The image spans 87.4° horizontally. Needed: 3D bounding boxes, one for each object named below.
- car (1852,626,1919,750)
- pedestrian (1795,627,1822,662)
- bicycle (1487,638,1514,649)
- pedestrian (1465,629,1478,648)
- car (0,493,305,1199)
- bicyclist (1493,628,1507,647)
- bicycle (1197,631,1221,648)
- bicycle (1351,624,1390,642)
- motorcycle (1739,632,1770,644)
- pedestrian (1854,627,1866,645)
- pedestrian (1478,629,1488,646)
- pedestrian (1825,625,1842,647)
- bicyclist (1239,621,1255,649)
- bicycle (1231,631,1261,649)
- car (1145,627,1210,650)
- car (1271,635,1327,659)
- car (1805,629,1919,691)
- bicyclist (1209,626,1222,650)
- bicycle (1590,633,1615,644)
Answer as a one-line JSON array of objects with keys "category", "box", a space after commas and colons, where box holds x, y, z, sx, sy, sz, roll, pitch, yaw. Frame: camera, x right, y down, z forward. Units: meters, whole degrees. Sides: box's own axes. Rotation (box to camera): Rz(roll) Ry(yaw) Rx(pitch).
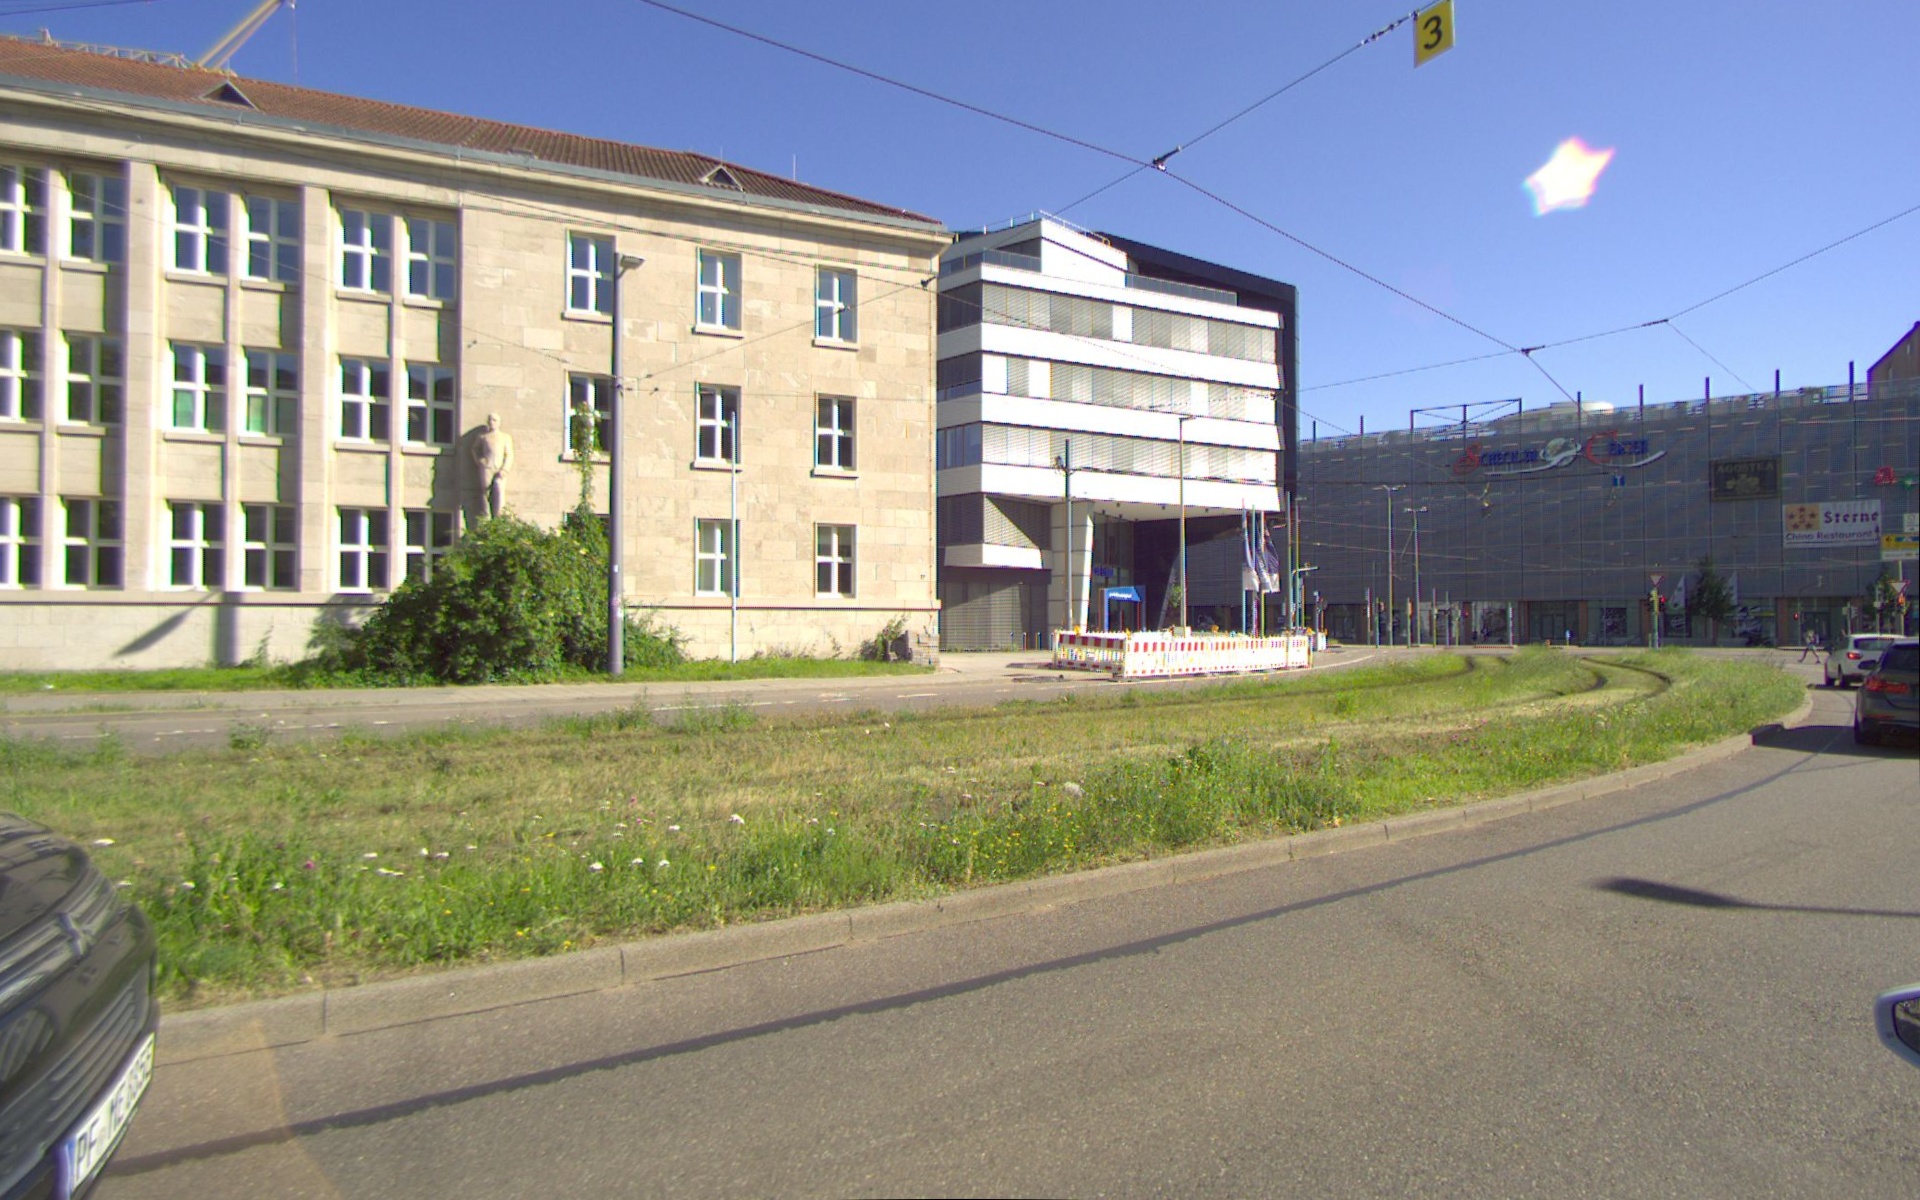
[{"category": "car", "box": [13.027, 1.133, 13.252, 1.715, 1.442, 4.441, 2, -1, 44]}, {"category": "pedestrian", "box": [42.846, 2.234, 50.715, 0.873, 1.730, 0.711, -1, -2, 30]}, {"category": "bicycle", "box": [53.020, 4.259, 98.512, 2.205, 1.085, 1.044, 0, -2, -10]}, {"category": "pedestrian", "box": [51.114, 3.857, 100.361, 0.807, 1.893, 0.903, 0, -2, -17]}, {"category": "car", "box": [-3.495, 0.699, 0.951, 4.582, 1.704, 1.830, 1, -1, -27]}, {"category": "bicyclist", "box": [53.009, 3.708, 98.607, 0.830, 1.827, 0.815, 0, -2, -11]}, {"category": "bicycle", "box": [17.590, 2.789, 70.942, 1.552, 1.121, 0.734, 1, -1, 26]}, {"category": "bicycle", "box": [45.834, 3.664, 112.233, 3.930, 2.040, 1.327, 0, -1, 31]}, {"category": "motorcycle", "box": [73.827, 3.558, 93.336, 2.171, 1.056, 1.059, 0, -1, 31]}, {"category": "pedestrian", "box": [78.593, 3.132, 87.713, 0.580, 1.555, 0.657, -1, -2, 30]}, {"category": "pedestrian", "box": [55.375, 3.968, 106.372, 0.836, 1.787, 0.619, -1, -2, 30]}, {"category": "pedestrian", "box": [71.434, 2.935, 82.133, 0.840, 1.760, 0.753, -1, -2, 24]}, {"category": "bicyclist", "box": [19.926, 2.418, 69.717, 0.889, 1.884, 0.853, -1, -2, 30]}, {"category": "bicycle", "box": [19.861, 2.773, 69.731, 1.802, 1.131, 0.852, 2, 0, 31]}, {"category": "car", "box": [16.180, 2.875, 74.767, 4.423, 1.656, 1.836, -1, -1, 30]}, {"category": "car", "box": [27.374, 3.826, 81.197, 3.928, 1.817, 1.755, 2, -1, -9]}, {"category": "car", "box": [23.855, 1.528, 26.554, 1.608, 1.442, 3.775, 2, -1, 30]}, {"category": "bicyclist", "box": [17.993, 2.662, 70.754, 0.771, 1.670, 0.689, -1, -2, 28]}, {"category": "bicycle", "box": [63.838, 3.830, 99.775, 1.996, 1.073, 1.143, -1, -2, 30]}]
